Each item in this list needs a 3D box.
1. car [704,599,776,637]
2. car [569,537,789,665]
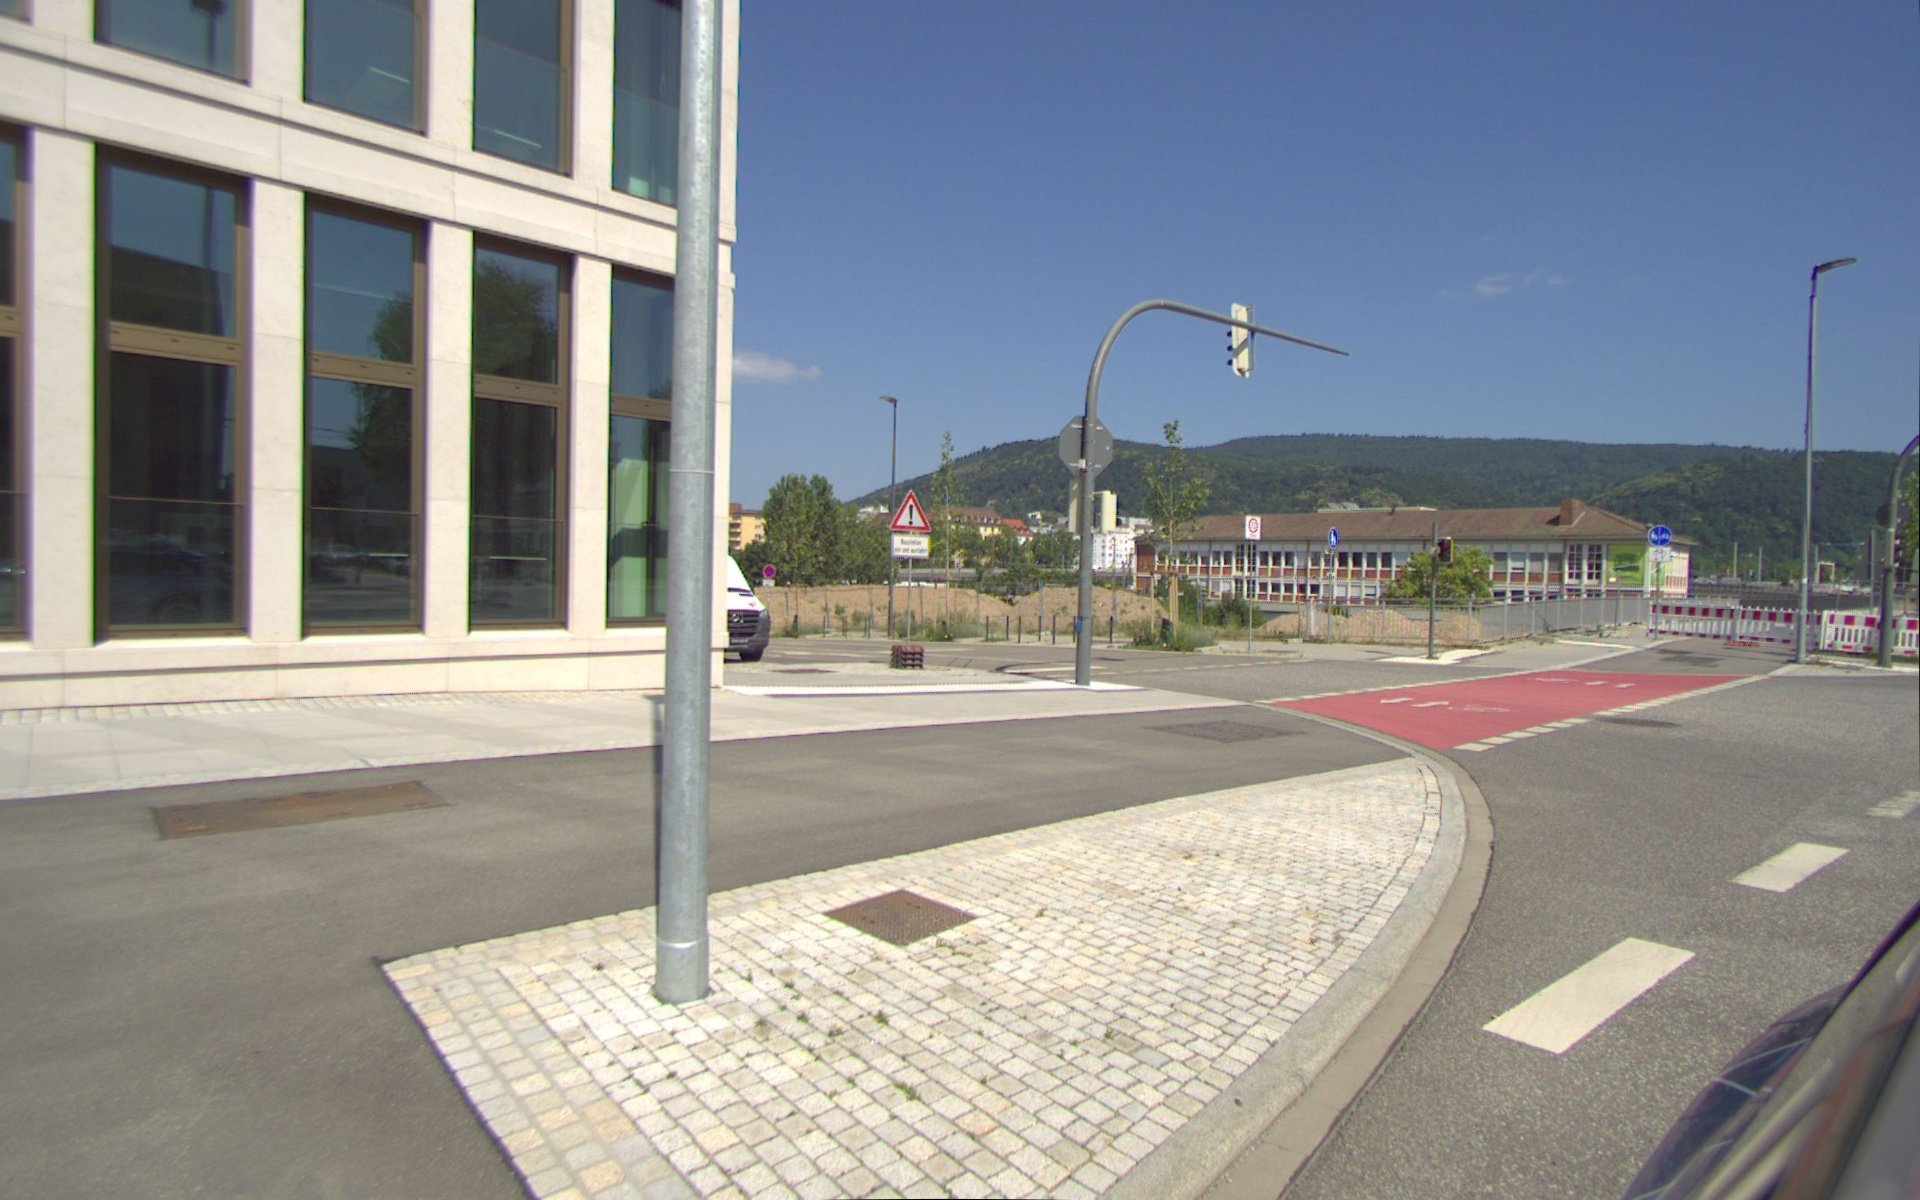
[{"bbox_3d":[-10.079,0.782,46.173,1.628,1.614,3.688,0,1,-41],"label":"car"},{"bbox_3d":[-6.030,0.039,21.138,2.109,2.299,5.845,0,0,-41],"label":"car"}]
